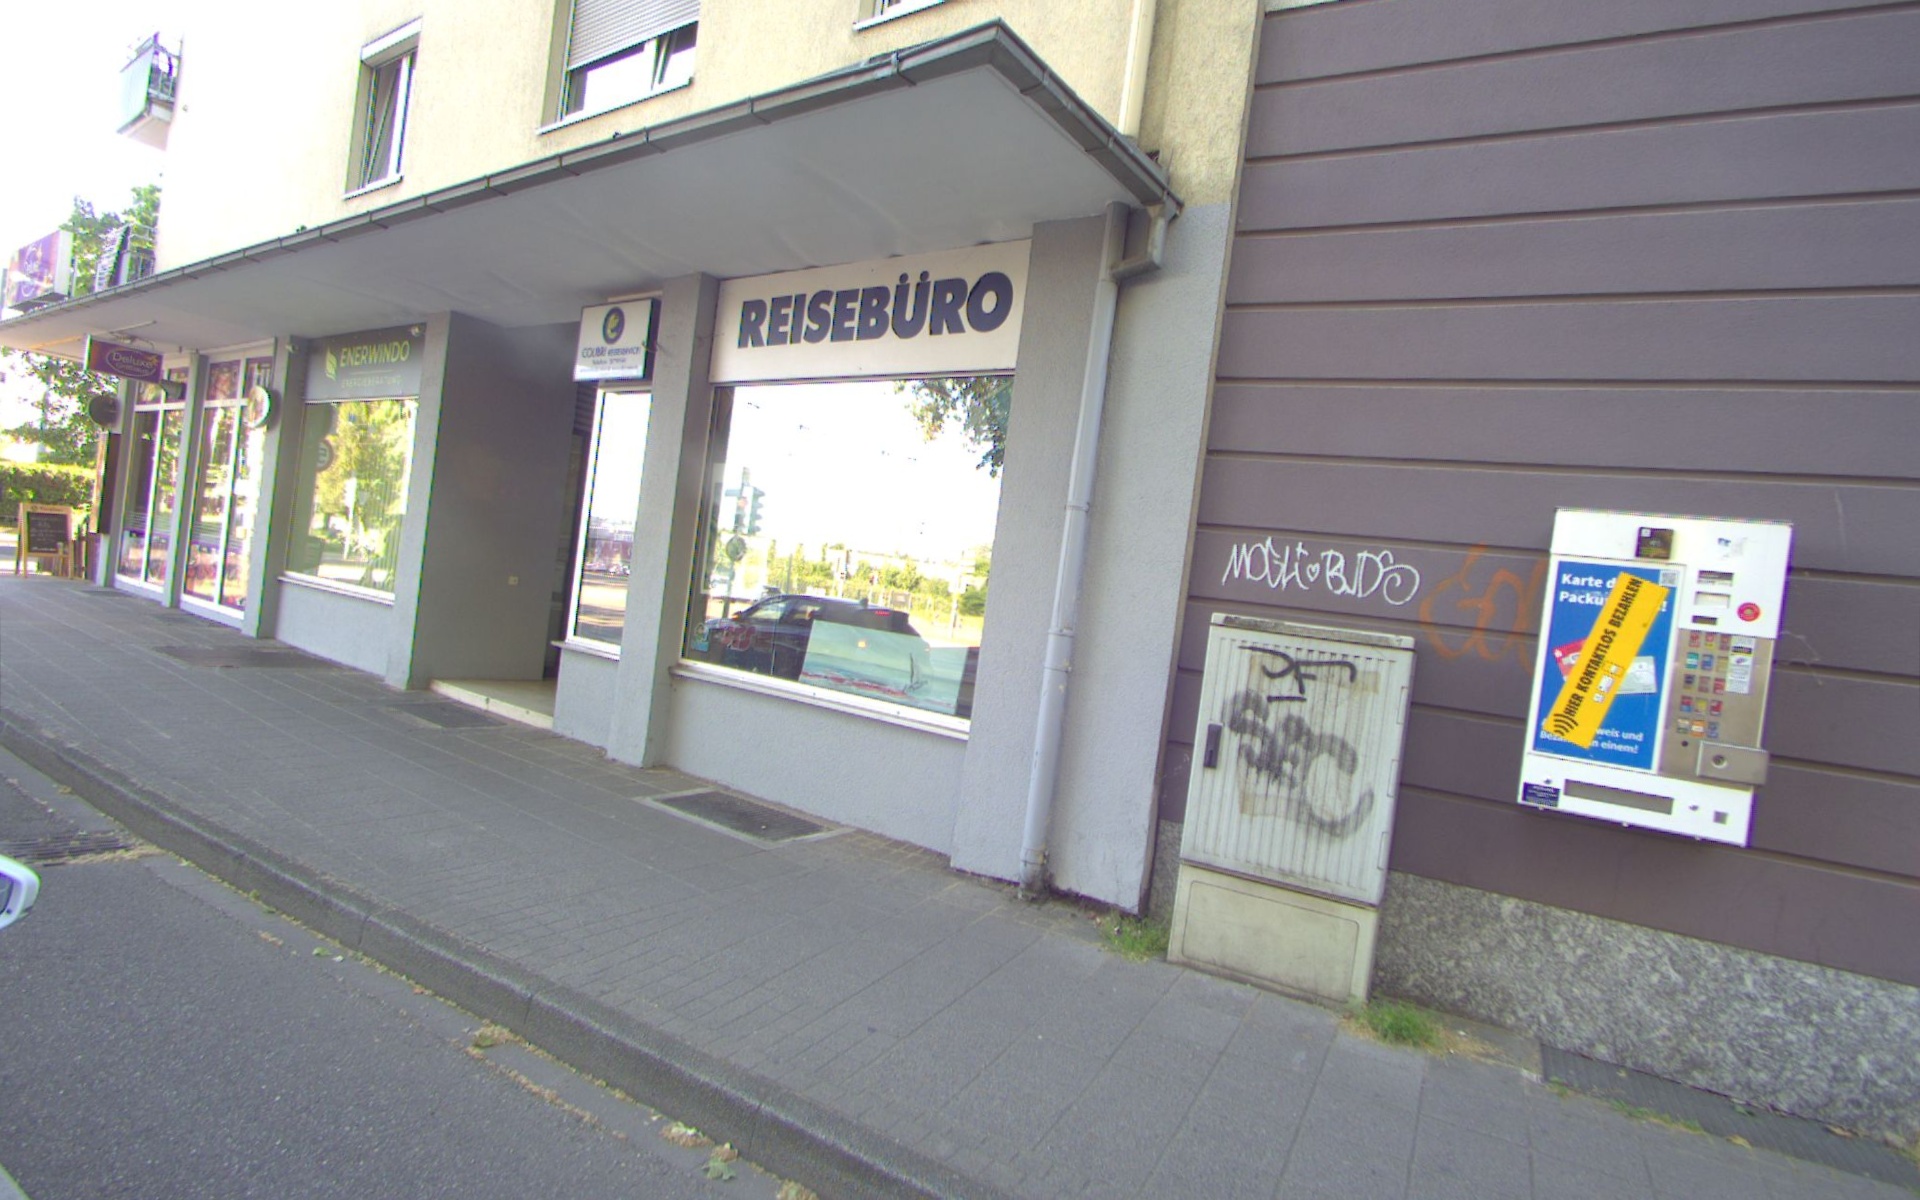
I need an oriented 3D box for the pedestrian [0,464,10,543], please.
[{"bbox_3d":[-18.934,-1.741,19.417,0.630,1.841,0.738,8,-1,-38],"label":"pedestrian"}]
